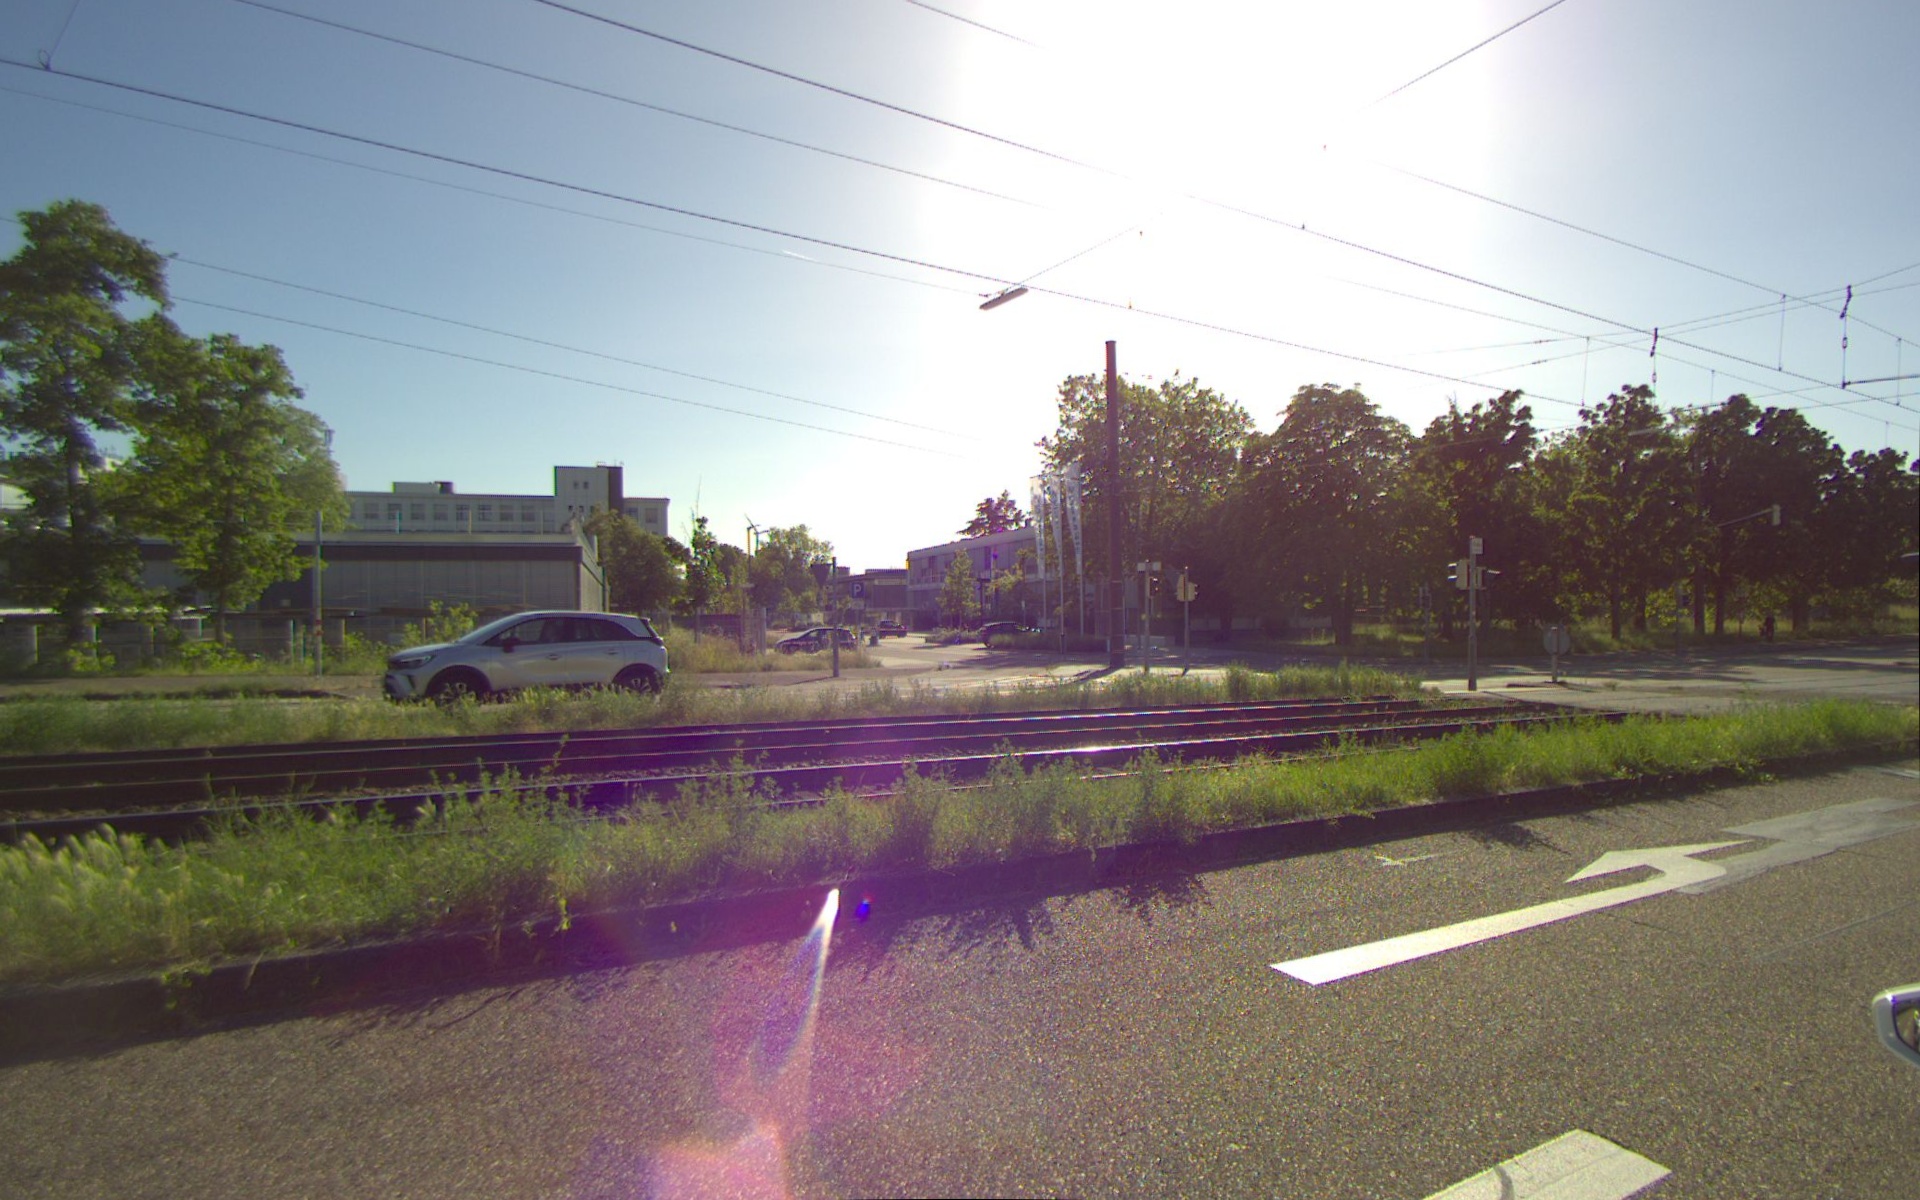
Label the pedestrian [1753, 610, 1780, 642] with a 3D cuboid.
[{"bbox_3d":[45.607,1.464,56.810,0.919,1.757,0.761,0,0,-2],"label":"pedestrian"}]

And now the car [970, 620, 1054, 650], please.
[{"bbox_3d":[3.187,2.137,61.705,4.768,1.751,2.041,1,0,-21],"label":"car"}]

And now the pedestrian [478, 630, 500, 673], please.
[{"bbox_3d":[-14.731,1.606,31.427,0.432,1.318,0.441,0,0,18],"label":"pedestrian"}]

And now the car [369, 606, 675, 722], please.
[{"bbox_3d":[-6.786,0.911,15.735,4.116,1.578,1.842,1,0,-36],"label":"car"}]

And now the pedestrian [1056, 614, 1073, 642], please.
[{"bbox_3d":[6.776,1.784,65.130,0.807,1.811,0.950,0,0,-16],"label":"pedestrian"}]

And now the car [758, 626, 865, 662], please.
[{"bbox_3d":[-7.691,2.257,51.910,5.210,1.772,2.164,1,0,-19],"label":"car"}]
